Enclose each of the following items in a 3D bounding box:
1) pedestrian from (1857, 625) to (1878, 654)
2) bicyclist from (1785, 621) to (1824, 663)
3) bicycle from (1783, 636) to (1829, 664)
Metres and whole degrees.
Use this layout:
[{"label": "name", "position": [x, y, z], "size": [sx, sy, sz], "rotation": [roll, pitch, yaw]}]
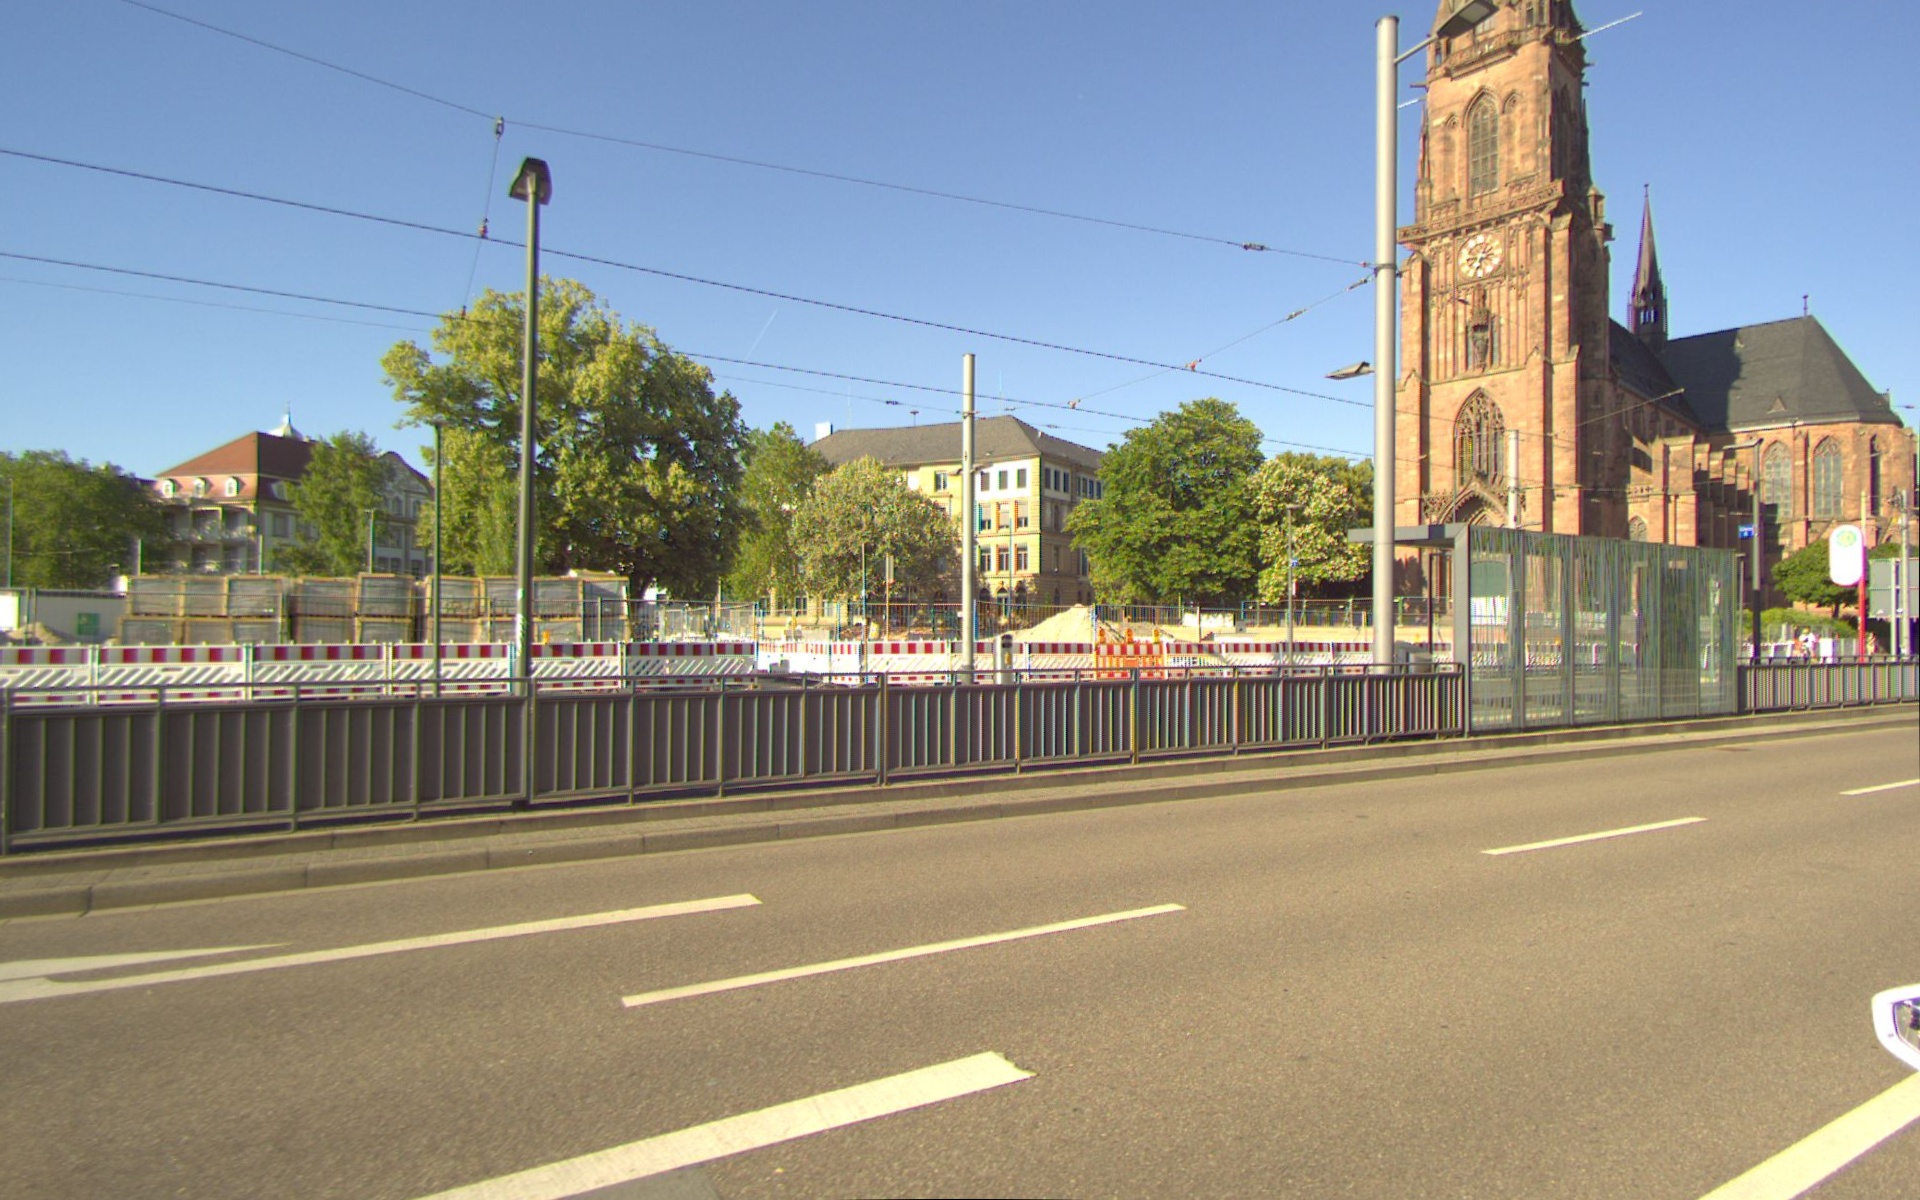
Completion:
[{"label": "pedestrian", "position": [57.809, 2.494, 63.998], "size": [0.854, 1.797, 0.724], "rotation": [-2, -1, -33]}, {"label": "bicyclist", "position": [38.917, 1.922, 46.311], "size": [1.307, 1.831, 0.956], "rotation": [0, -6, -37]}, {"label": "bicycle", "position": [39.109, 2.308, 46.423], "size": [2.798, 1.110, 0.956], "rotation": [0, -6, -38]}]
